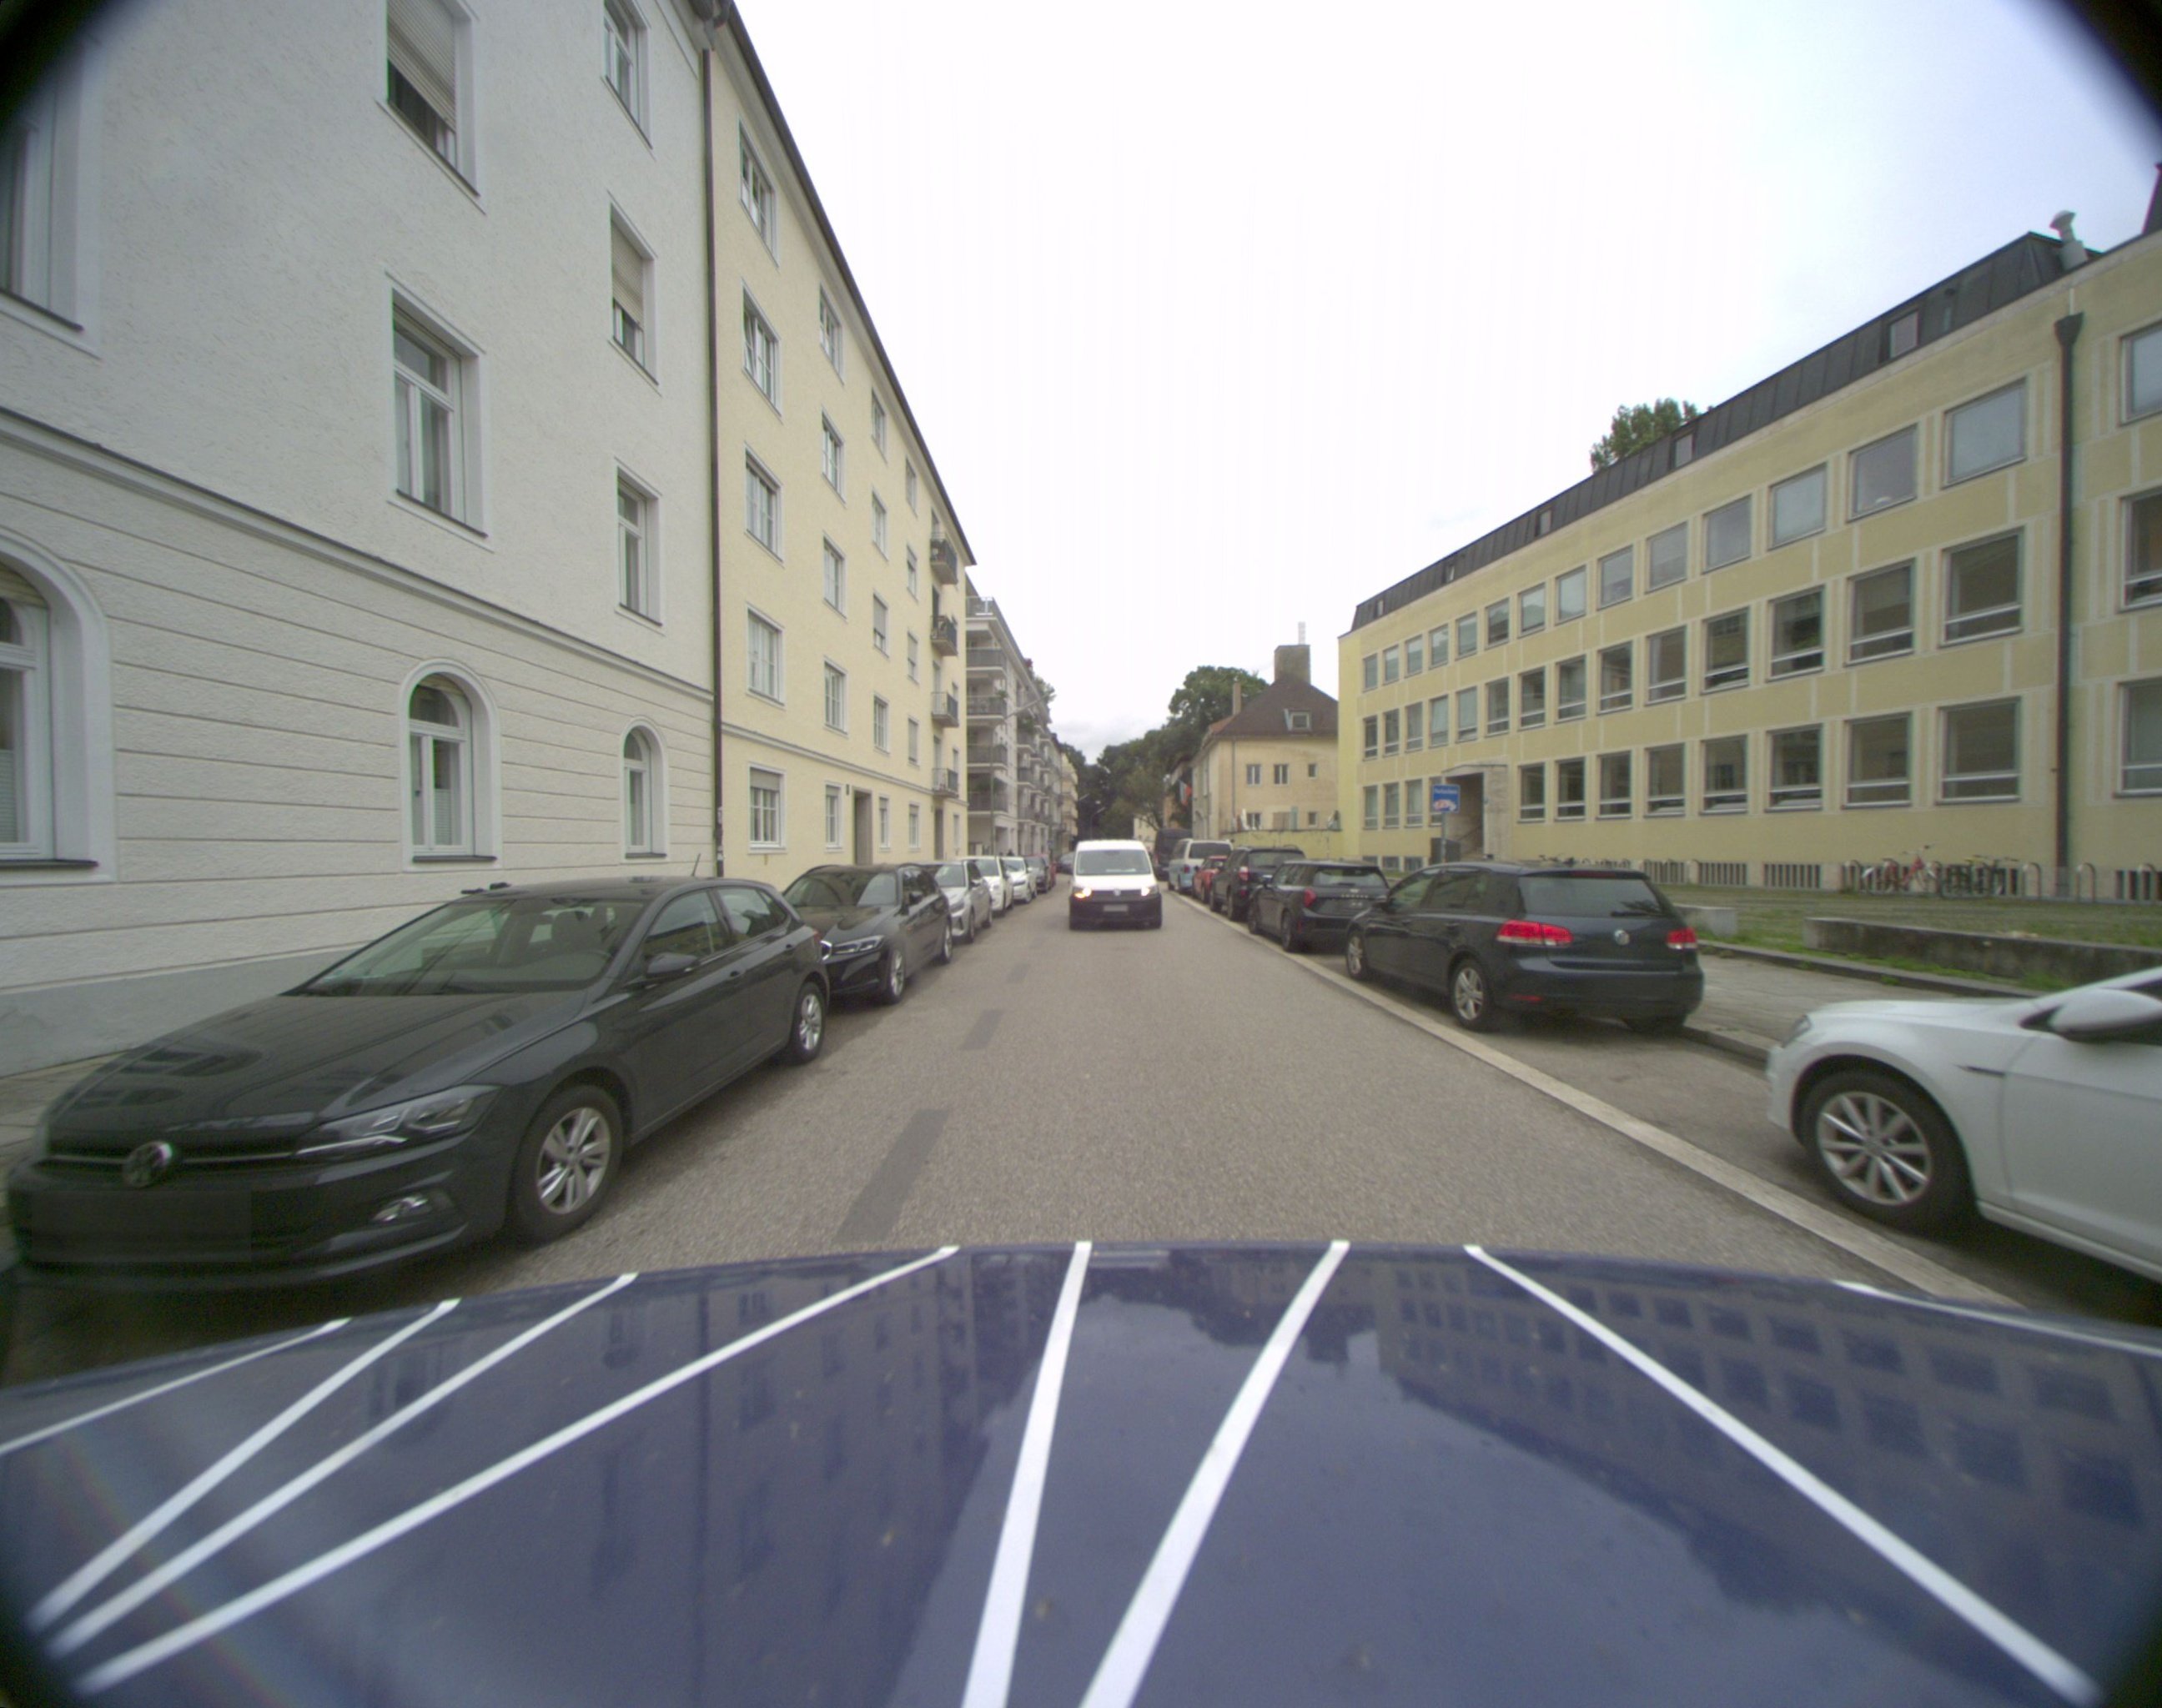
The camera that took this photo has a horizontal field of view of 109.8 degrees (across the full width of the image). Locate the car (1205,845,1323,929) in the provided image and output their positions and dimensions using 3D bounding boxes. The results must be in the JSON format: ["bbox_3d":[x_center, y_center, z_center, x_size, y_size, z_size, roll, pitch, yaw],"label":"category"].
[{"bbox_3d":[4.090,0.650,17.648,1.744,1.679,4.121,1,1,0],"label":"car"}]

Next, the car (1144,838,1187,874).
[{"bbox_3d":[5.237,0.076,47.526,2.215,2.070,4.959,-2,1,2],"label":"car"}]

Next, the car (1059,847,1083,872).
[{"bbox_3d":[-0.749,0.407,58.381,1.639,1.726,3.879,-2,1,2],"label":"car"}]

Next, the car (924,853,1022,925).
[{"bbox_3d":[-2.686,0.819,19.892,1.841,1.538,4.267,-2,1,1],"label":"car"}]

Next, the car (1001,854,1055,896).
[{"bbox_3d":[-1.991,0.774,29.769,1.742,1.367,4.021,-2,1,1],"label":"car"}]

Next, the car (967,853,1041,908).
[{"bbox_3d":[-2.364,0.780,24.308,1.841,1.450,4.021,-2,1,0],"label":"car"}]

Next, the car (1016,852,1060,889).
[{"bbox_3d":[-1.958,0.709,35.543,1.742,1.507,4.021,-2,1,1],"label":"car"}]

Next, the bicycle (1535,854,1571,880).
[{"bbox_3d":[17.065,0.462,27.464,1.244,0.897,0.288,-3,2,-13],"label":"bicycle"}]

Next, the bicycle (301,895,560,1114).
[{"bbox_3d":[-4.342,0.933,5.219,0.481,1.171,1.472,2,2,2],"label":"bicycle"}]

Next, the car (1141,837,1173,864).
[{"bbox_3d":[6.299,-0.344,63.601,2.215,2.070,4.959,-2,1,2],"label":"car"}]

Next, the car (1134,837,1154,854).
[{"bbox_3d":[7.964,-1.095,95.976,2.215,2.070,4.959,-2,1,2],"label":"car"}]

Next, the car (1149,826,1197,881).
[{"bbox_3d":[4.867,-0.100,40.857,1.998,2.702,4.959,-2,1,2],"label":"car"}]

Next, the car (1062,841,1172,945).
[{"bbox_3d":[0.678,0.635,15.605,1.884,1.762,4.924,0,1,1],"label":"car"}]

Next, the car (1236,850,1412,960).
[{"bbox_3d":[3.853,0.719,12.727,1.744,1.459,3.685,-2,1,0],"label":"car"}]

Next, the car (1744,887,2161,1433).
[{"bbox_3d":[4.062,0.966,1.610,1.726,1.521,3.999,1,1,-1],"label":"car"}]

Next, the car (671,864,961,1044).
[{"bbox_3d":[-2.752,0.941,9.135,1.802,1.406,4.528,-2,1,0],"label":"car"}]

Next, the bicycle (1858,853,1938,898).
[{"bbox_3d":[19.455,0.500,18.096,1.739,0.984,0.389,-3,2,-9],"label":"bicycle"}]

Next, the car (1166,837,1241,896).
[{"bbox_3d":[4.382,0.390,27.803,1.949,1.965,4.354,1,1,-1],"label":"car"}]

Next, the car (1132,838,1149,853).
[{"bbox_3d":[8.717,-1.309,112.379,2.215,2.070,4.959,-2,1,2],"label":"car"}]

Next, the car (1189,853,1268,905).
[{"bbox_3d":[4.422,0.716,23.282,1.744,1.396,3.455,1,1,0],"label":"car"}]

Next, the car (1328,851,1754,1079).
[{"bbox_3d":[4.048,0.809,7.615,1.745,1.537,4.081,-2,1,-1],"label":"car"}]

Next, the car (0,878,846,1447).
[{"bbox_3d":[-2.891,0.996,4.261,1.707,1.434,4.055,-2,1,2],"label":"car"}]

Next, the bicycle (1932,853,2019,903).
[{"bbox_3d":[19.507,0.517,16.568,1.739,0.984,0.389,-3,2,-9],"label":"bicycle"}]

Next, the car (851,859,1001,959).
[{"bbox_3d":[-2.753,0.905,14.658,1.841,1.426,4.653,-2,1,1],"label":"car"}]
